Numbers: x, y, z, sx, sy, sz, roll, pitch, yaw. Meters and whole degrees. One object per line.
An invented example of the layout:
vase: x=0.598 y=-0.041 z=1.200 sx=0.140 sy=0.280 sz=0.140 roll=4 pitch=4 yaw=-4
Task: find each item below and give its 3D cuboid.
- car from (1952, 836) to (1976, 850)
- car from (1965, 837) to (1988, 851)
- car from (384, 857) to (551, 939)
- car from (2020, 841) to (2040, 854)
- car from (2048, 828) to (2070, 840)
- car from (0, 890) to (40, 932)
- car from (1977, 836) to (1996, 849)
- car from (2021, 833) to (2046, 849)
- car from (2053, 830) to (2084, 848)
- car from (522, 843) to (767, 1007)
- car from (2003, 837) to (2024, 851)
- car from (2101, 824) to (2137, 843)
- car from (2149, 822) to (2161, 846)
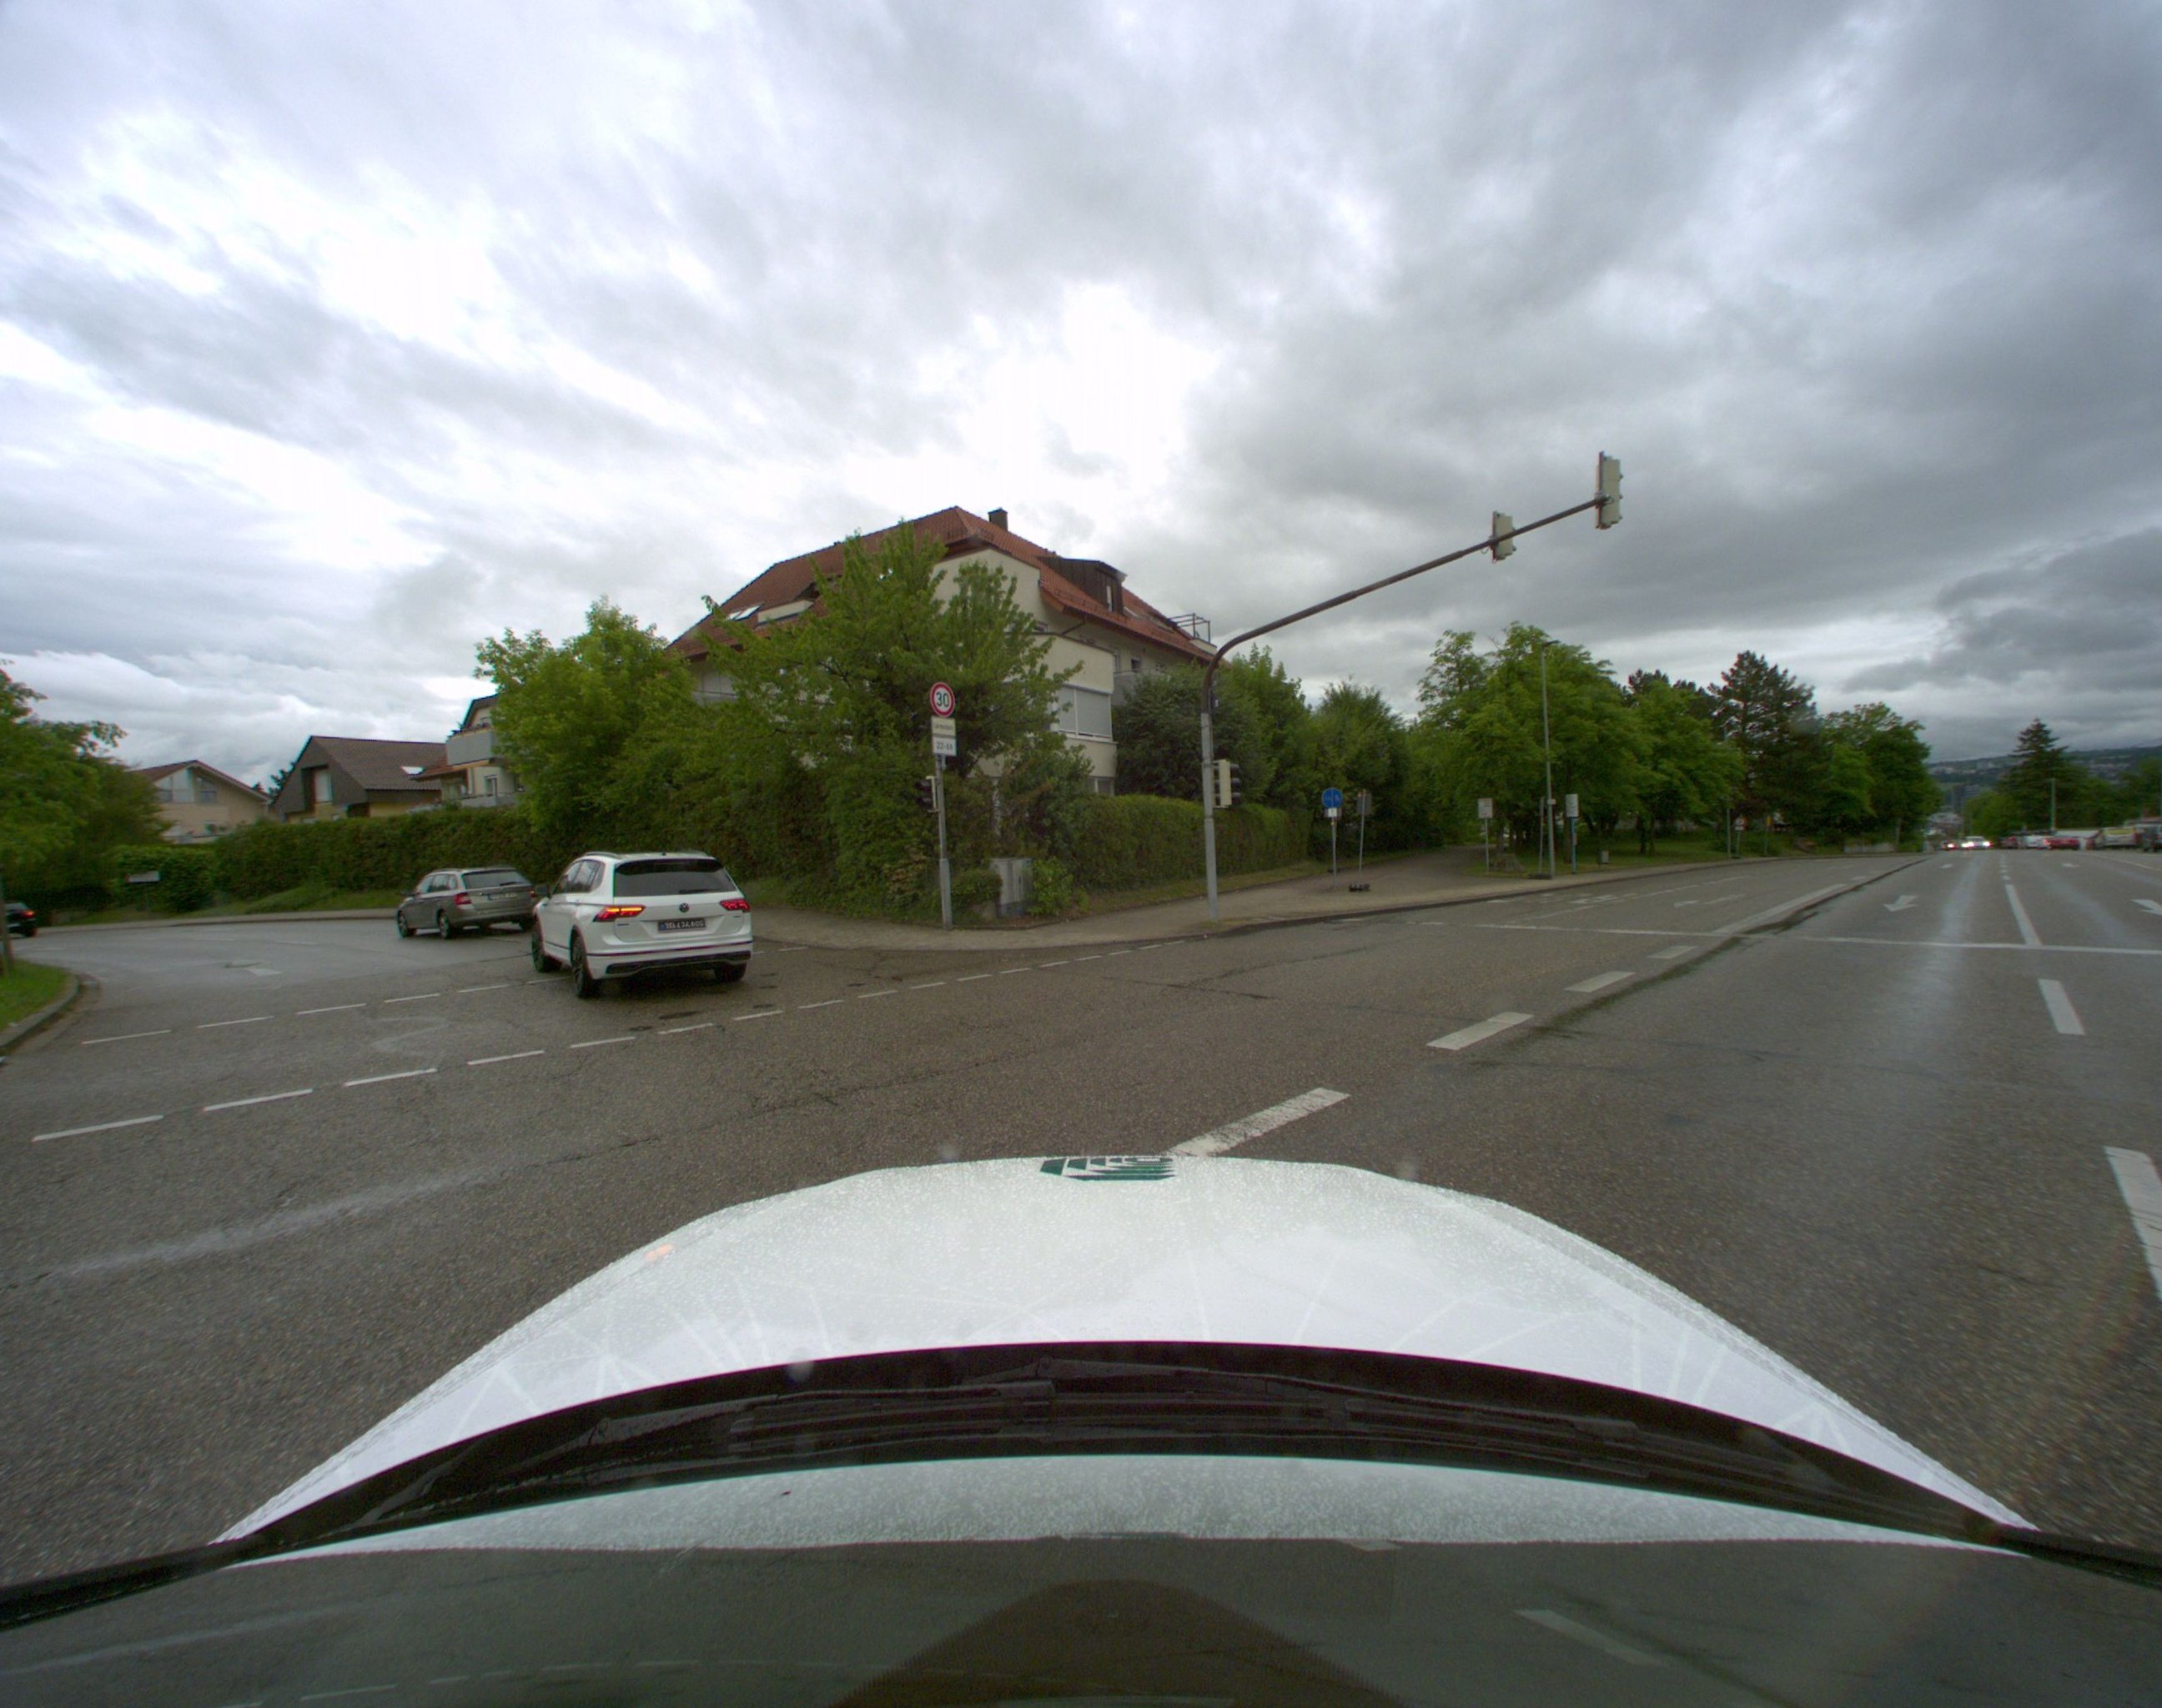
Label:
car: x=108.207 y=-1.374 z=99.807 sx=4.021 sy=1.716 sz=1.829 roll=-2 pitch=1 yaw=-40
car: x=115.316 y=-1.277 z=104.829 sx=4.021 sy=1.716 sz=1.829 roll=-2 pitch=1 yaw=-40
car: x=-13.669 y=0.893 z=18.096 sx=3.875 sy=1.589 sz=1.816 roll=-1 pitch=1 yaw=35
car: x=129.001 y=-0.890 z=110.678 sx=4.021 sy=1.574 sz=1.723 roll=-2 pitch=1 yaw=-41
car: x=135.343 y=-2.760 z=112.765 sx=4.021 sy=1.574 sz=1.835 roll=-2 pitch=1 yaw=-41
car: x=-42.465 y=2.312 z=31.231 sx=3.955 sy=1.479 sz=1.774 roll=-4 pitch=0 yaw=17
car: x=135.843 y=-1.741 z=122.161 sx=4.021 sy=1.793 sz=1.871 roll=-2 pitch=1 yaw=-41
car: x=100.432 y=-1.366 z=85.892 sx=4.021 sy=1.574 sz=1.723 roll=-2 pitch=1 yaw=-41
car: x=90.728 y=-1.406 z=74.854 sx=4.021 sy=1.574 sz=1.739 roll=-2 pitch=1 yaw=-41
car: x=-5.885 y=0.757 z=10.724 sx=1.779 sy=1.696 sz=4.220 roll=-2 pitch=1 yaw=-43
car: x=122.106 y=-1.302 z=106.674 sx=4.021 sy=1.782 sz=1.782 roll=-2 pitch=1 yaw=-41
car: x=93.678 y=-1.847 z=73.528 sx=4.021 sy=1.574 sz=1.835 roll=-2 pitch=1 yaw=-41
car: x=75.290 y=-1.402 z=56.112 sx=4.021 sy=1.574 sz=1.835 roll=-3 pitch=2 yaw=-41
